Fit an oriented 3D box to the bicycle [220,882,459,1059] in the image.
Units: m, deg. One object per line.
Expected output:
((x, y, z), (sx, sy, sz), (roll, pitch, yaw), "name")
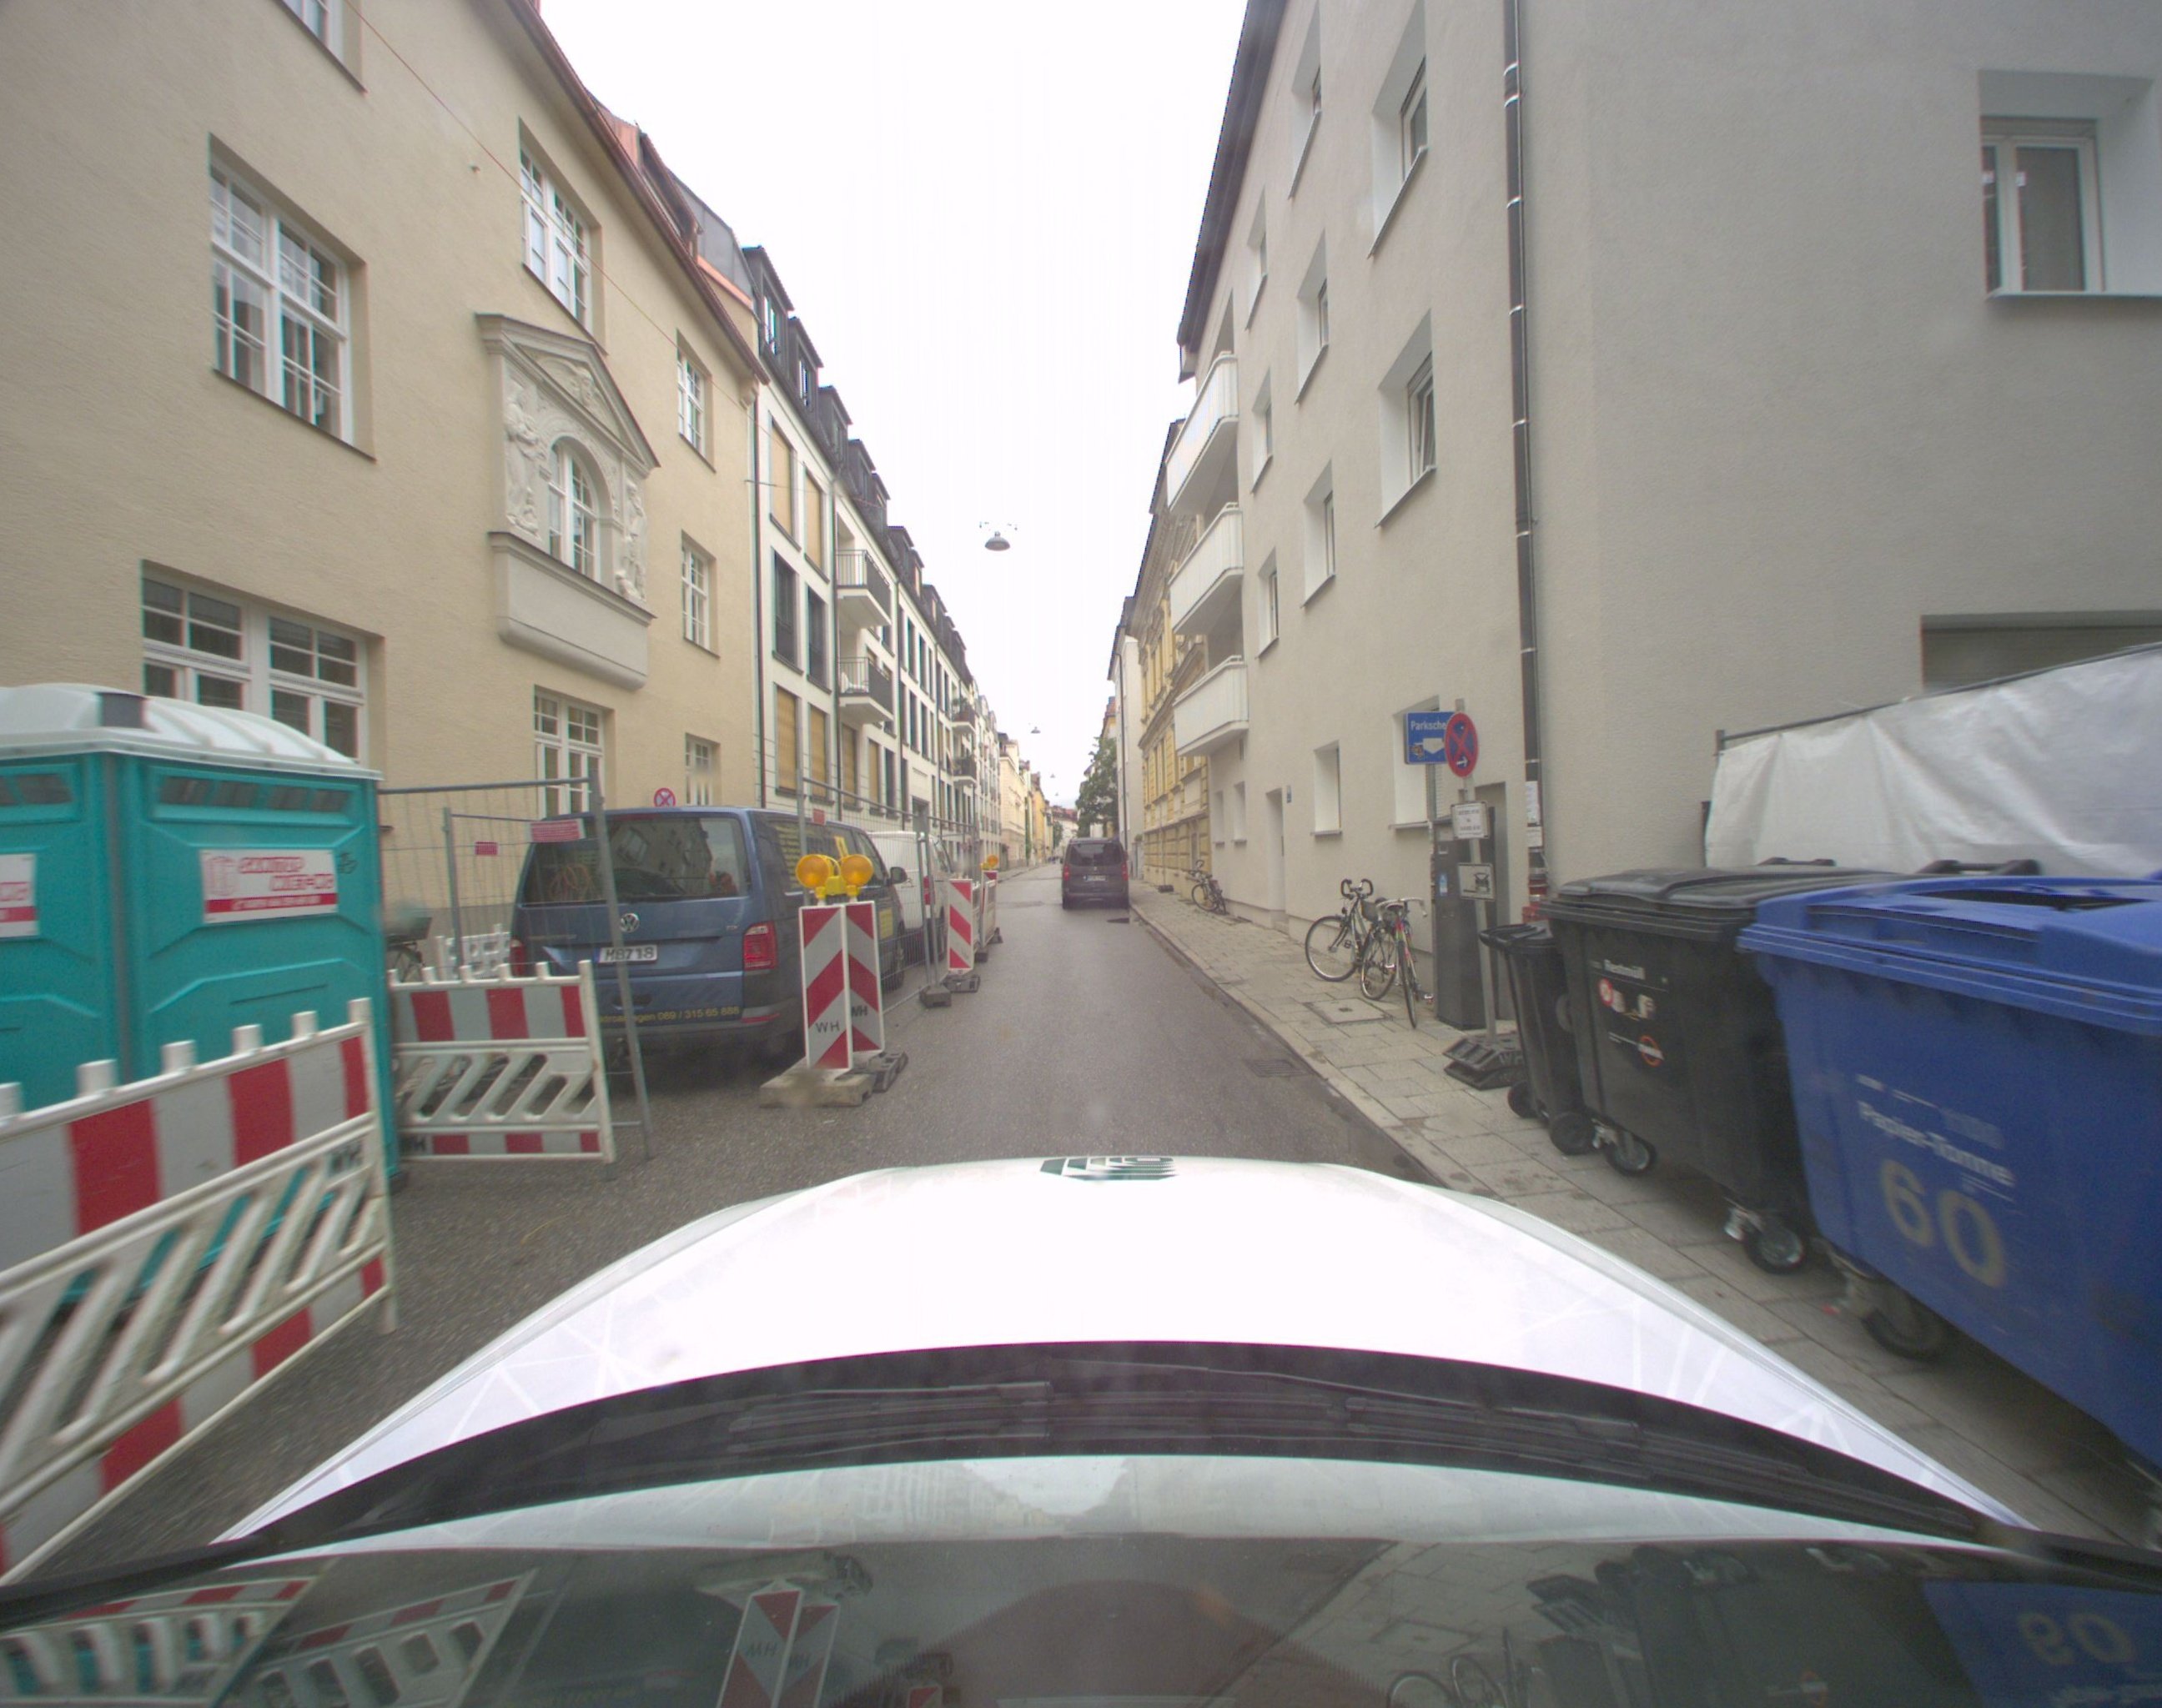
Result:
((-6.239, 0.884, 7.029), (0.381, 1.188, 2.130), (0, 1, -8), "bicycle")

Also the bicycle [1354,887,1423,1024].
((2.655, 0.830, 7.115), (0.279, 0.991, 1.438), (-5, 0, 12), "bicycle")

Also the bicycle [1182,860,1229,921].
((2.643, 0.741, 17.456), (0.636, 1.153, 1.915), (-4, 1, 0), "bicycle")

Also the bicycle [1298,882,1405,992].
((2.772, 0.811, 8.459), (0.404, 0.991, 1.324), (-5, 0, -10), "bicycle")

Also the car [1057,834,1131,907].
((0.290, 0.438, 24.222), (1.988, 1.932, 4.657), (0, 0, -2), "car")

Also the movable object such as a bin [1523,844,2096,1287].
((2.618, 0.684, 3.181), (1.120, 1.345, 1.173), (-5, 0, 7), "movable object such as a bin")

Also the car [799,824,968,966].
((-3.074, 0.577, 13.782), (1.901, 1.897, 5.081), (-1, 0, -4), "car")

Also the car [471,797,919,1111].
((-3.001, 0.639, 7.941), (1.722, 1.897, 5.506), (-3, 0, -1), "car")

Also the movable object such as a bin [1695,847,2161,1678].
((2.476, 0.703, 1.939), (1.079, 1.346, 1.322), (-5, 0, 11), "movable object such as a bin")

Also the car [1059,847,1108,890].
((0.028, 0.555, 34.300), (1.889, 1.641, 4.319), (-2, 0, -2), "car")

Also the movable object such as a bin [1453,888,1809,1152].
((2.707, 0.794, 4.158), (1.205, 1.095, 0.791), (-5, 0, 7), "movable object such as a bin")
